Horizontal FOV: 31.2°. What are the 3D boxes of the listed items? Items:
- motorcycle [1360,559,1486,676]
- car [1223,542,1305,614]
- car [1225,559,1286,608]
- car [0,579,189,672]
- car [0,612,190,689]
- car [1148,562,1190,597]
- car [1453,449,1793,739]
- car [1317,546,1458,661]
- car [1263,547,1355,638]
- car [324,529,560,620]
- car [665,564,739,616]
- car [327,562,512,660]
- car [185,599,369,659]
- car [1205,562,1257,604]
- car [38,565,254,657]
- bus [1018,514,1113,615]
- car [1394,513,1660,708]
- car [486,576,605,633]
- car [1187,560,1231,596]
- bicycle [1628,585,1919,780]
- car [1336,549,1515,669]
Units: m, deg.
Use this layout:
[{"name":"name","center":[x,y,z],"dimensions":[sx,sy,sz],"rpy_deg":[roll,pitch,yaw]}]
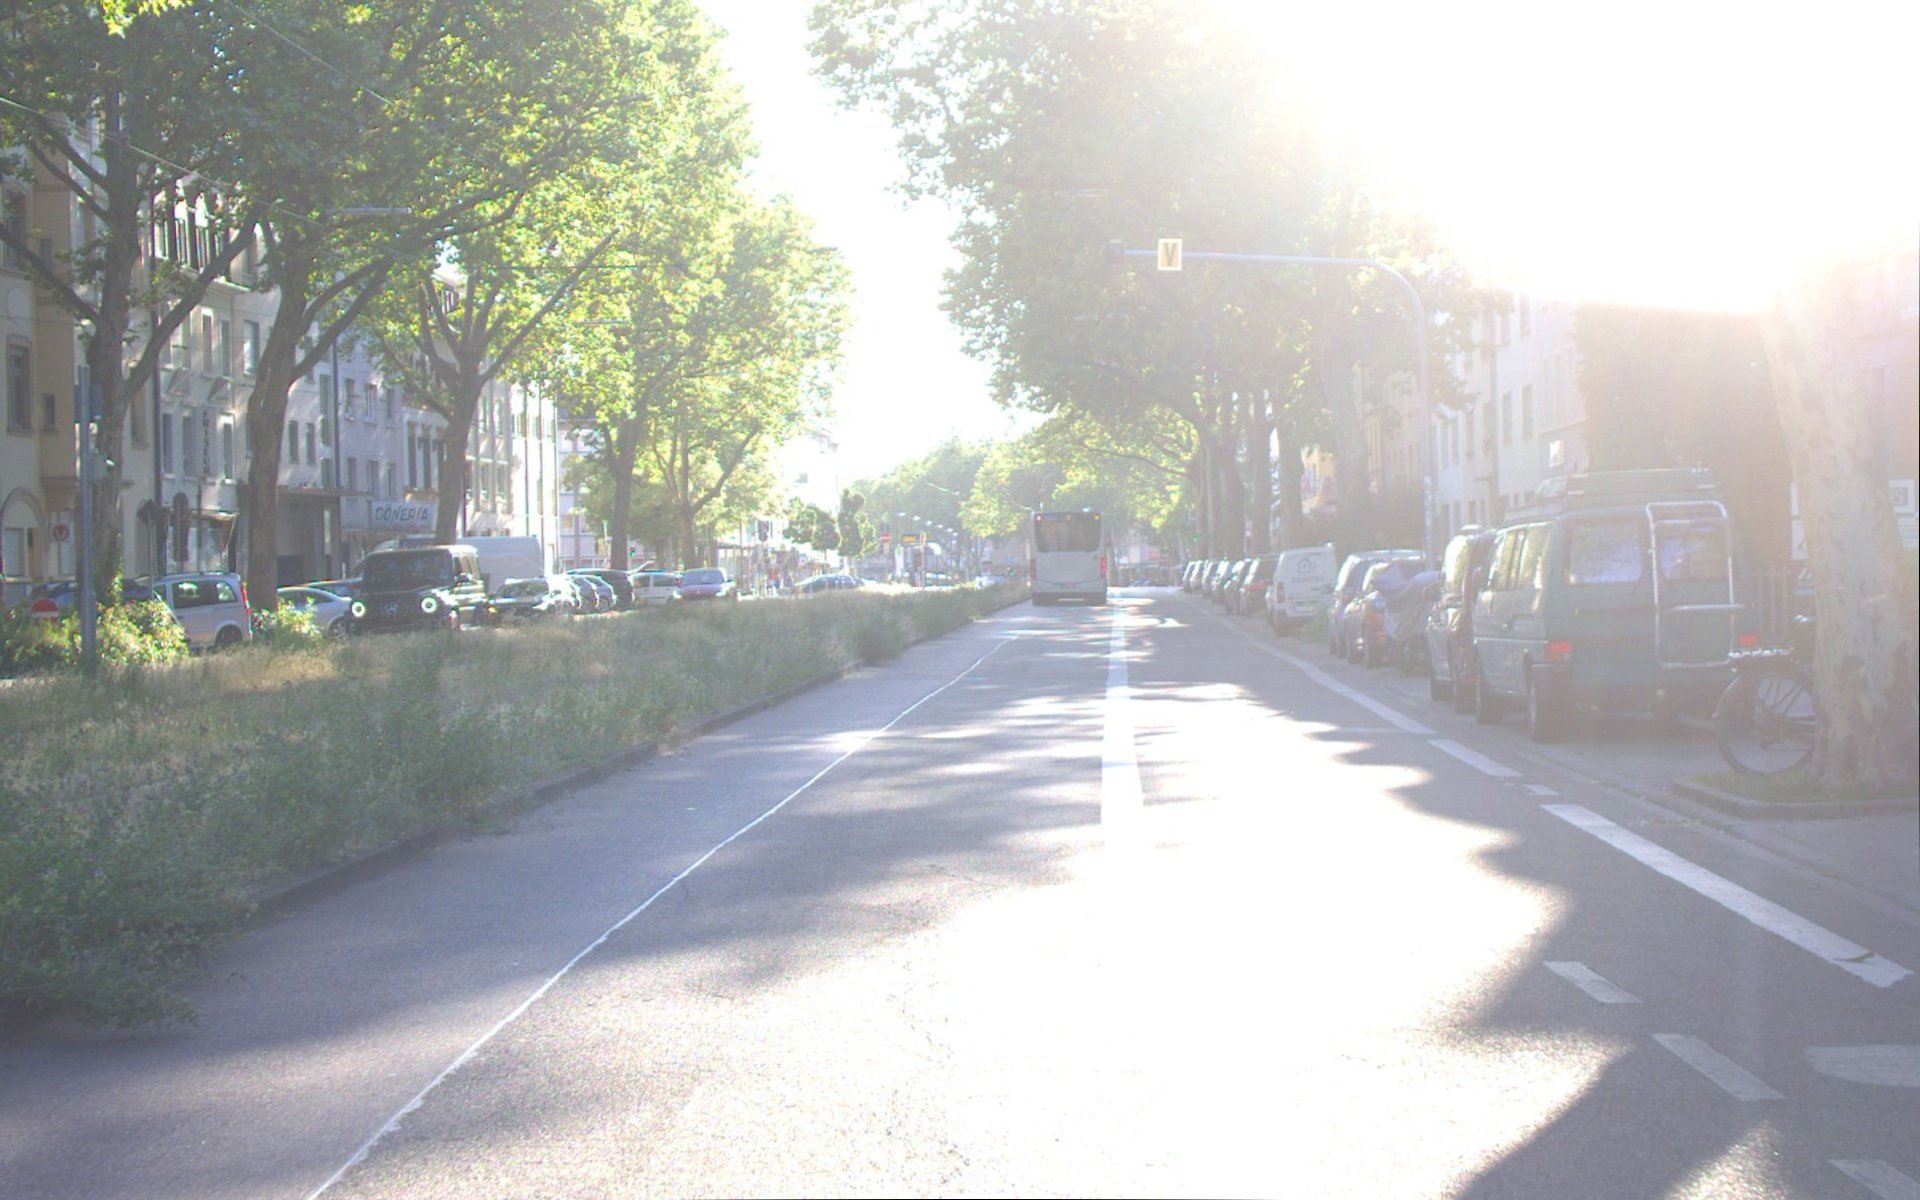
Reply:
[{"name":"motorcycle","center":[5.844,0.207,43.521],"dimensions":[0.823,1.393,2.380],"rpy_deg":[-3,1,-10]},{"name":"car","center":[7.875,-0.552,89.400],"dimensions":[1.744,1.764,4.988],"rpy_deg":[-1,0,1]},{"name":"car","center":[9.655,-0.561,112.489],"dimensions":[1.781,1.510,4.000],"rpy_deg":[-2,1,2]},{"name":"car","center":[-17.300,0.490,67.068],"dimensions":[3.988,1.717,1.784],"rpy_deg":[-1,0,-36]},{"name":"car","center":[-17.765,1.007,69.436],"dimensions":[3.988,1.443,1.585],"rpy_deg":[-1,0,-36]},{"name":"car","center":[9.643,-0.949,158.763],"dimensions":[1.781,1.510,4.000],"rpy_deg":[-2,1,2]},{"name":"car","center":[5.623,-0.044,29.833],"dimensions":[1.993,2.249,5.235],"rpy_deg":[-1,0,1]},{"name":"car","center":[6.581,0.052,53.271],"dimensions":[1.744,1.684,3.852],"rpy_deg":[-1,0,1]},{"name":"car","center":[7.099,-0.153,70.205],"dimensions":[1.744,1.764,4.393],"rpy_deg":[-1,0,5]},{"name":"car","center":[-16.060,-0.803,106.643],"dimensions":[6.935,2.669,2.186],"rpy_deg":[-1,0,-18]},{"name":"car","center":[-8.034,-0.322,107.195],"dimensions":[1.790,1.568,4.000],"rpy_deg":[-1,1,3]},{"name":"car","center":[-9.783,0.187,62.606],"dimensions":[1.870,1.688,4.774],"rpy_deg":[-1,0,10]},{"name":"car","center":[-16.307,0.684,82.094],"dimensions":[3.987,1.351,1.586],"rpy_deg":[-1,0,-29]},{"name":"car","center":[10.224,-0.665,129.988],"dimensions":[1.781,1.510,4.000],"rpy_deg":[-2,1,2]},{"name":"car","center":[-17.316,0.233,73.184],"dimensions":[3.988,1.875,1.999],"rpy_deg":[-1,0,-36]},{"name":"bus","center":[3.486,-1.132,115.388],"dimensions":[2.833,3.224,8.182],"rpy_deg":[-1,0,0]},{"name":"car","center":[5.715,0.108,35.226],"dimensions":[1.993,1.823,4.757],"rpy_deg":[-1,0,1]},{"name":"car","center":[-11.139,0.123,92.696],"dimensions":[1.746,1.455,4.922],"rpy_deg":[-1,0,11]},{"name":"car","center":[11.043,-0.997,152.348],"dimensions":[1.781,1.510,4.000],"rpy_deg":[-2,1,2]},{"name":"bicycle","center":[5.038,0.498,20.951],"dimensions":[1.845,1.139,0.348],"rpy_deg":[-1,0,2]},{"name":"car","center":[6.408,0.121,47.734],"dimensions":[1.993,1.555,3.980],"rpy_deg":[-1,0,1]}]
